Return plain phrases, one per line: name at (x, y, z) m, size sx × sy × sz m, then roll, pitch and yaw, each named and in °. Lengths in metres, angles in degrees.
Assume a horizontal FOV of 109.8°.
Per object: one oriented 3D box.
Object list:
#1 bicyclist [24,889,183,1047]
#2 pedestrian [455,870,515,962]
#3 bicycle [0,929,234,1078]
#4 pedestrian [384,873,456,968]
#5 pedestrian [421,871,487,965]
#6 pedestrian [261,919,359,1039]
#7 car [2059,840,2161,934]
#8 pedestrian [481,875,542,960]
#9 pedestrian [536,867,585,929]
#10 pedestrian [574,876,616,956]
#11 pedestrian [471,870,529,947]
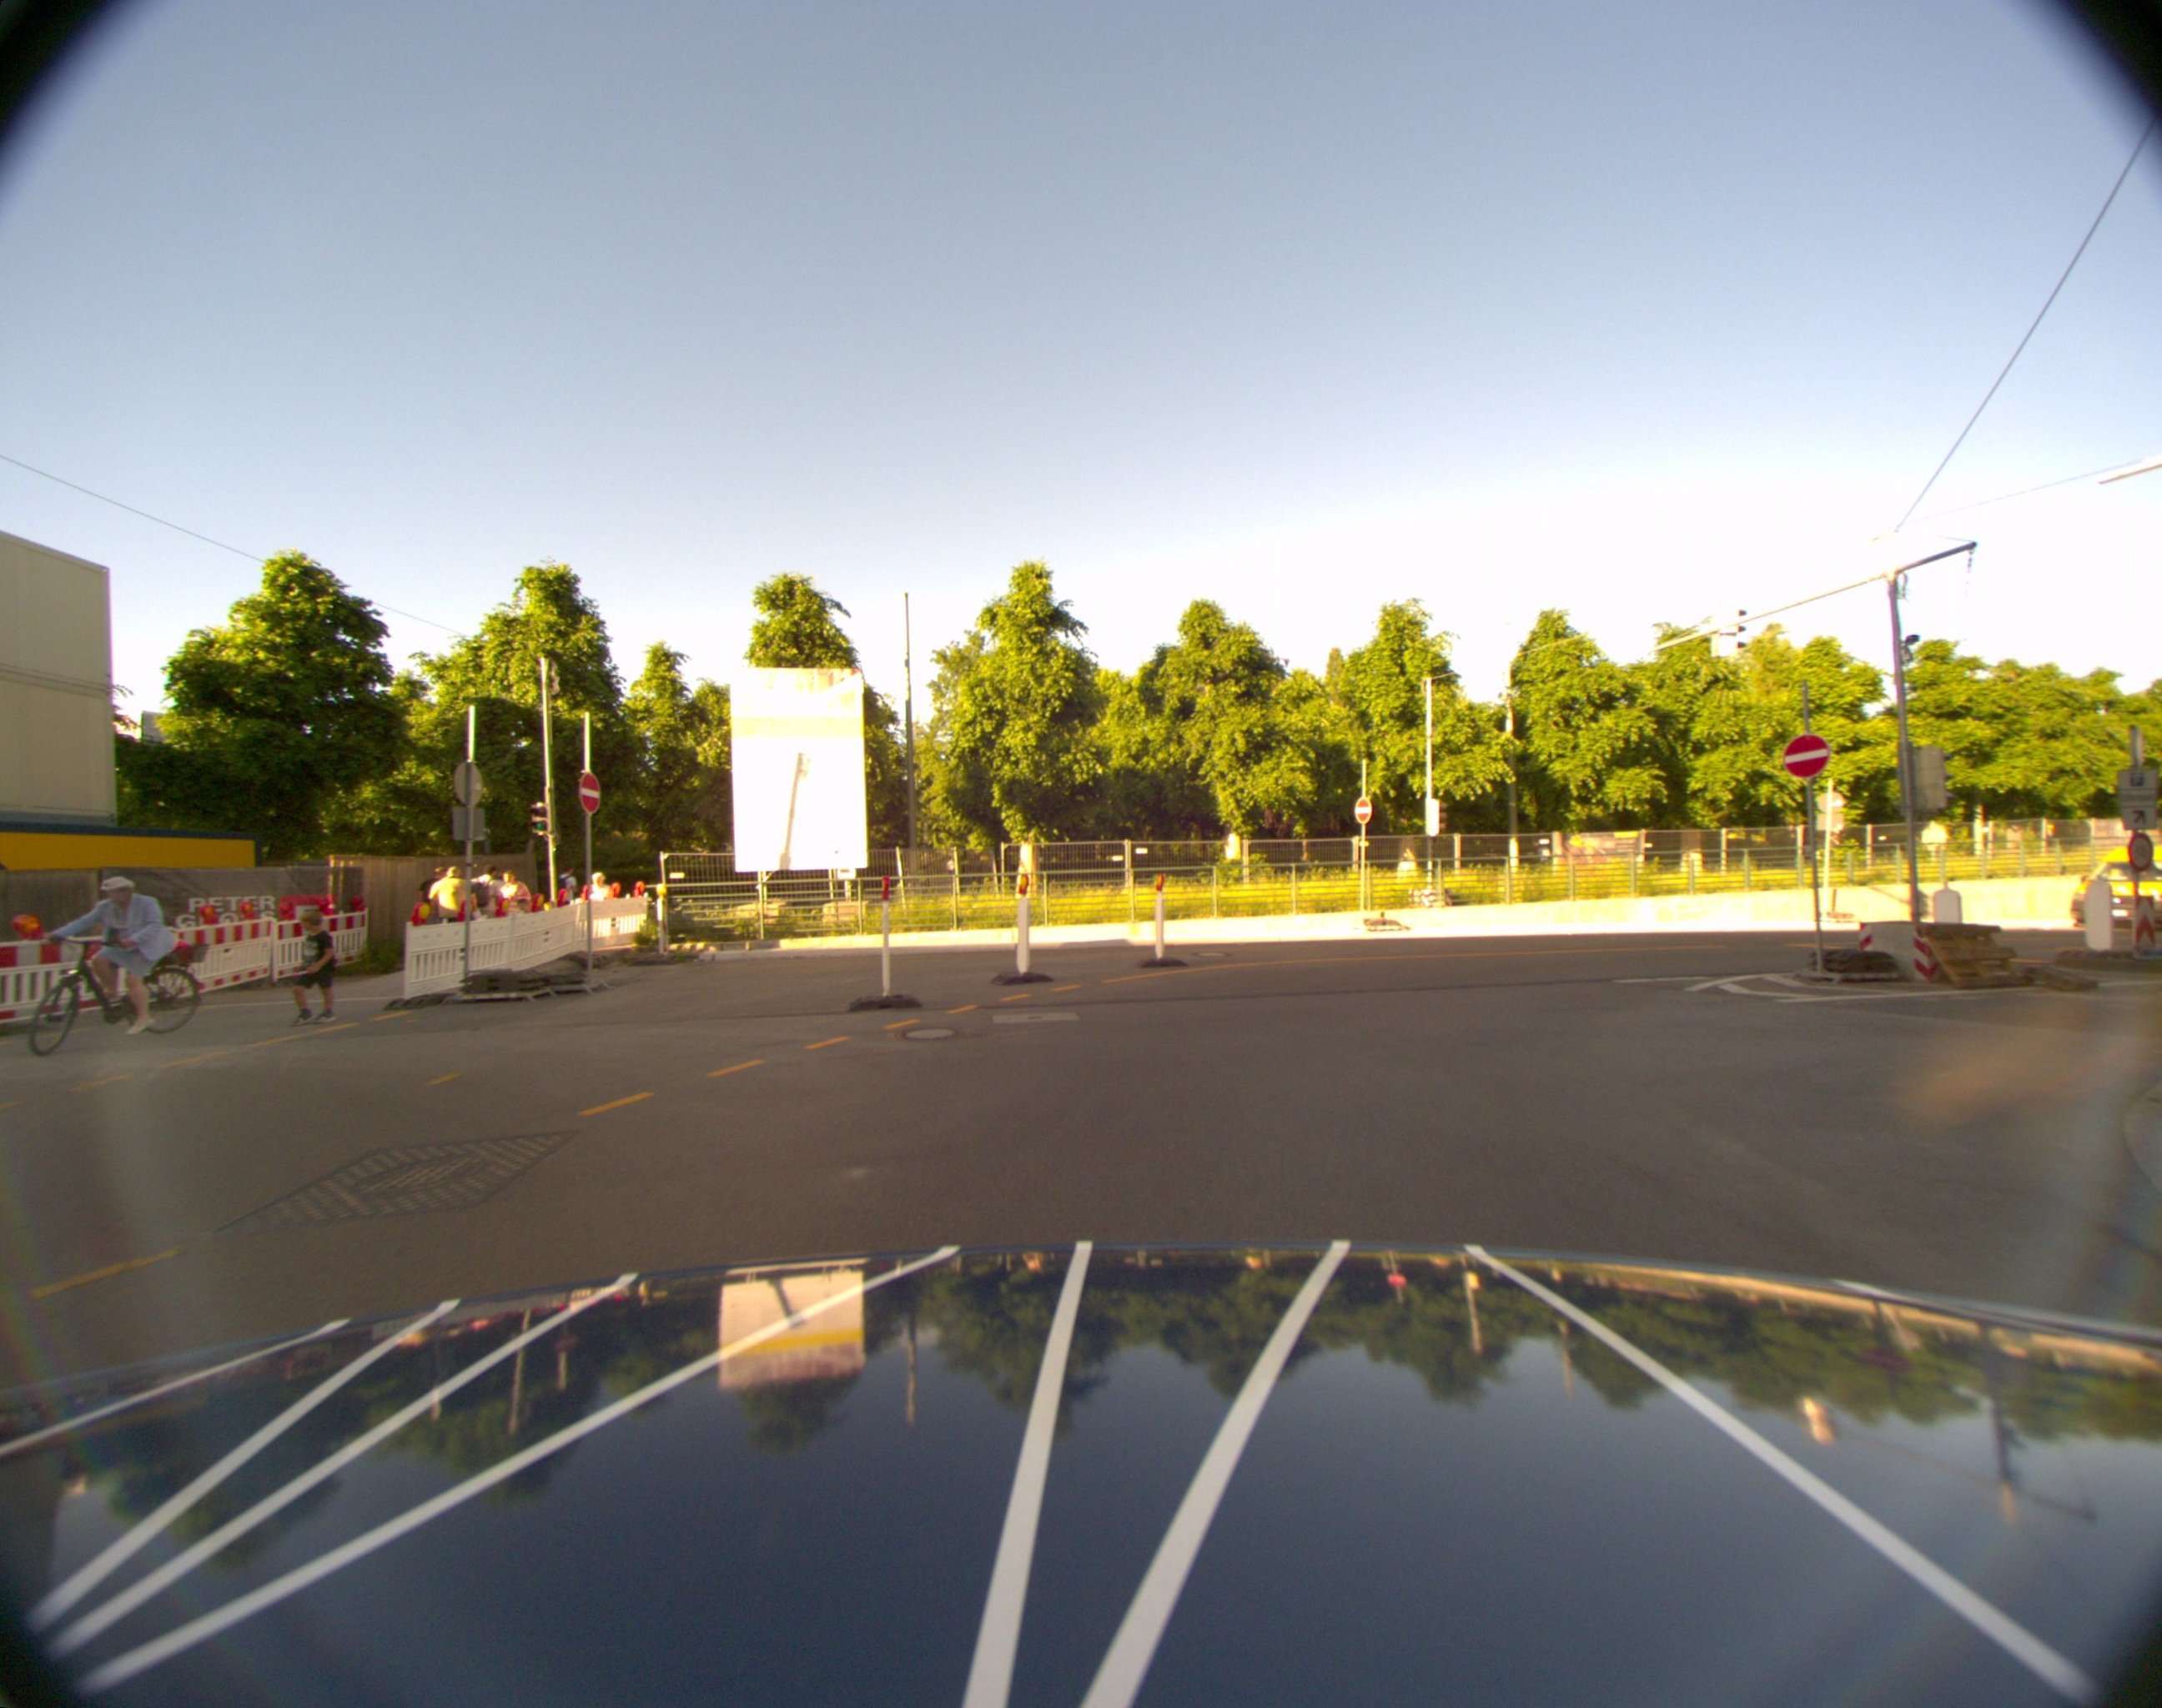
bicyclist at (-9.992, 1.127, 7.801) m, size 0.686 × 1.507 × 0.703 m, roll -1°, pitch 0°, yaw -11°
pedestrian at (-11.867, 1.207, 15.148) m, size 0.621 × 1.761 × 0.739 m, roll -1°, pitch 1°, yaw -7°
bicycle at (-10.039, 1.469, 7.927) m, size 0.477 × 1.194 × 1.997 m, roll -1°, pitch -1°, yaw -11°
pedestrian at (-12.868, 1.277, 14.808) m, size 0.723 × 1.761 × 0.739 m, roll -1°, pitch 1°, yaw -7°
pedestrian at (-11.786, 1.182, 14.306) m, size 0.621 × 1.706 × 0.739 m, roll -1°, pitch 1°, yaw -7°
pedestrian at (-8.861, 1.411, 8.758) m, size 0.494 × 1.291 × 0.620 m, roll -1°, pitch -3°, yaw -8°
car at (33.205, 1.018, 22.935) m, size 6.992 × 2.609 × 2.116 m, roll 1°, pitch -1°, yaw -17°
pedestrian at (-11.178, 1.228, 14.944) m, size 0.643 × 1.595 × 0.739 m, roll -1°, pitch 1°, yaw -7°
pedestrian at (-12.656, 1.051, 18.489) m, size 0.666 × 1.454 × 0.770 m, roll -1°, pitch 1°, yaw -7°
pedestrian at (-10.046, 1.265, 15.734) m, size 0.667 × 1.557 × 0.743 m, roll -1°, pitch 2°, yaw -30°
pedestrian at (-12.637, 1.175, 16.557) m, size 0.666 × 1.609 × 0.770 m, roll -1°, pitch 1°, yaw -7°
